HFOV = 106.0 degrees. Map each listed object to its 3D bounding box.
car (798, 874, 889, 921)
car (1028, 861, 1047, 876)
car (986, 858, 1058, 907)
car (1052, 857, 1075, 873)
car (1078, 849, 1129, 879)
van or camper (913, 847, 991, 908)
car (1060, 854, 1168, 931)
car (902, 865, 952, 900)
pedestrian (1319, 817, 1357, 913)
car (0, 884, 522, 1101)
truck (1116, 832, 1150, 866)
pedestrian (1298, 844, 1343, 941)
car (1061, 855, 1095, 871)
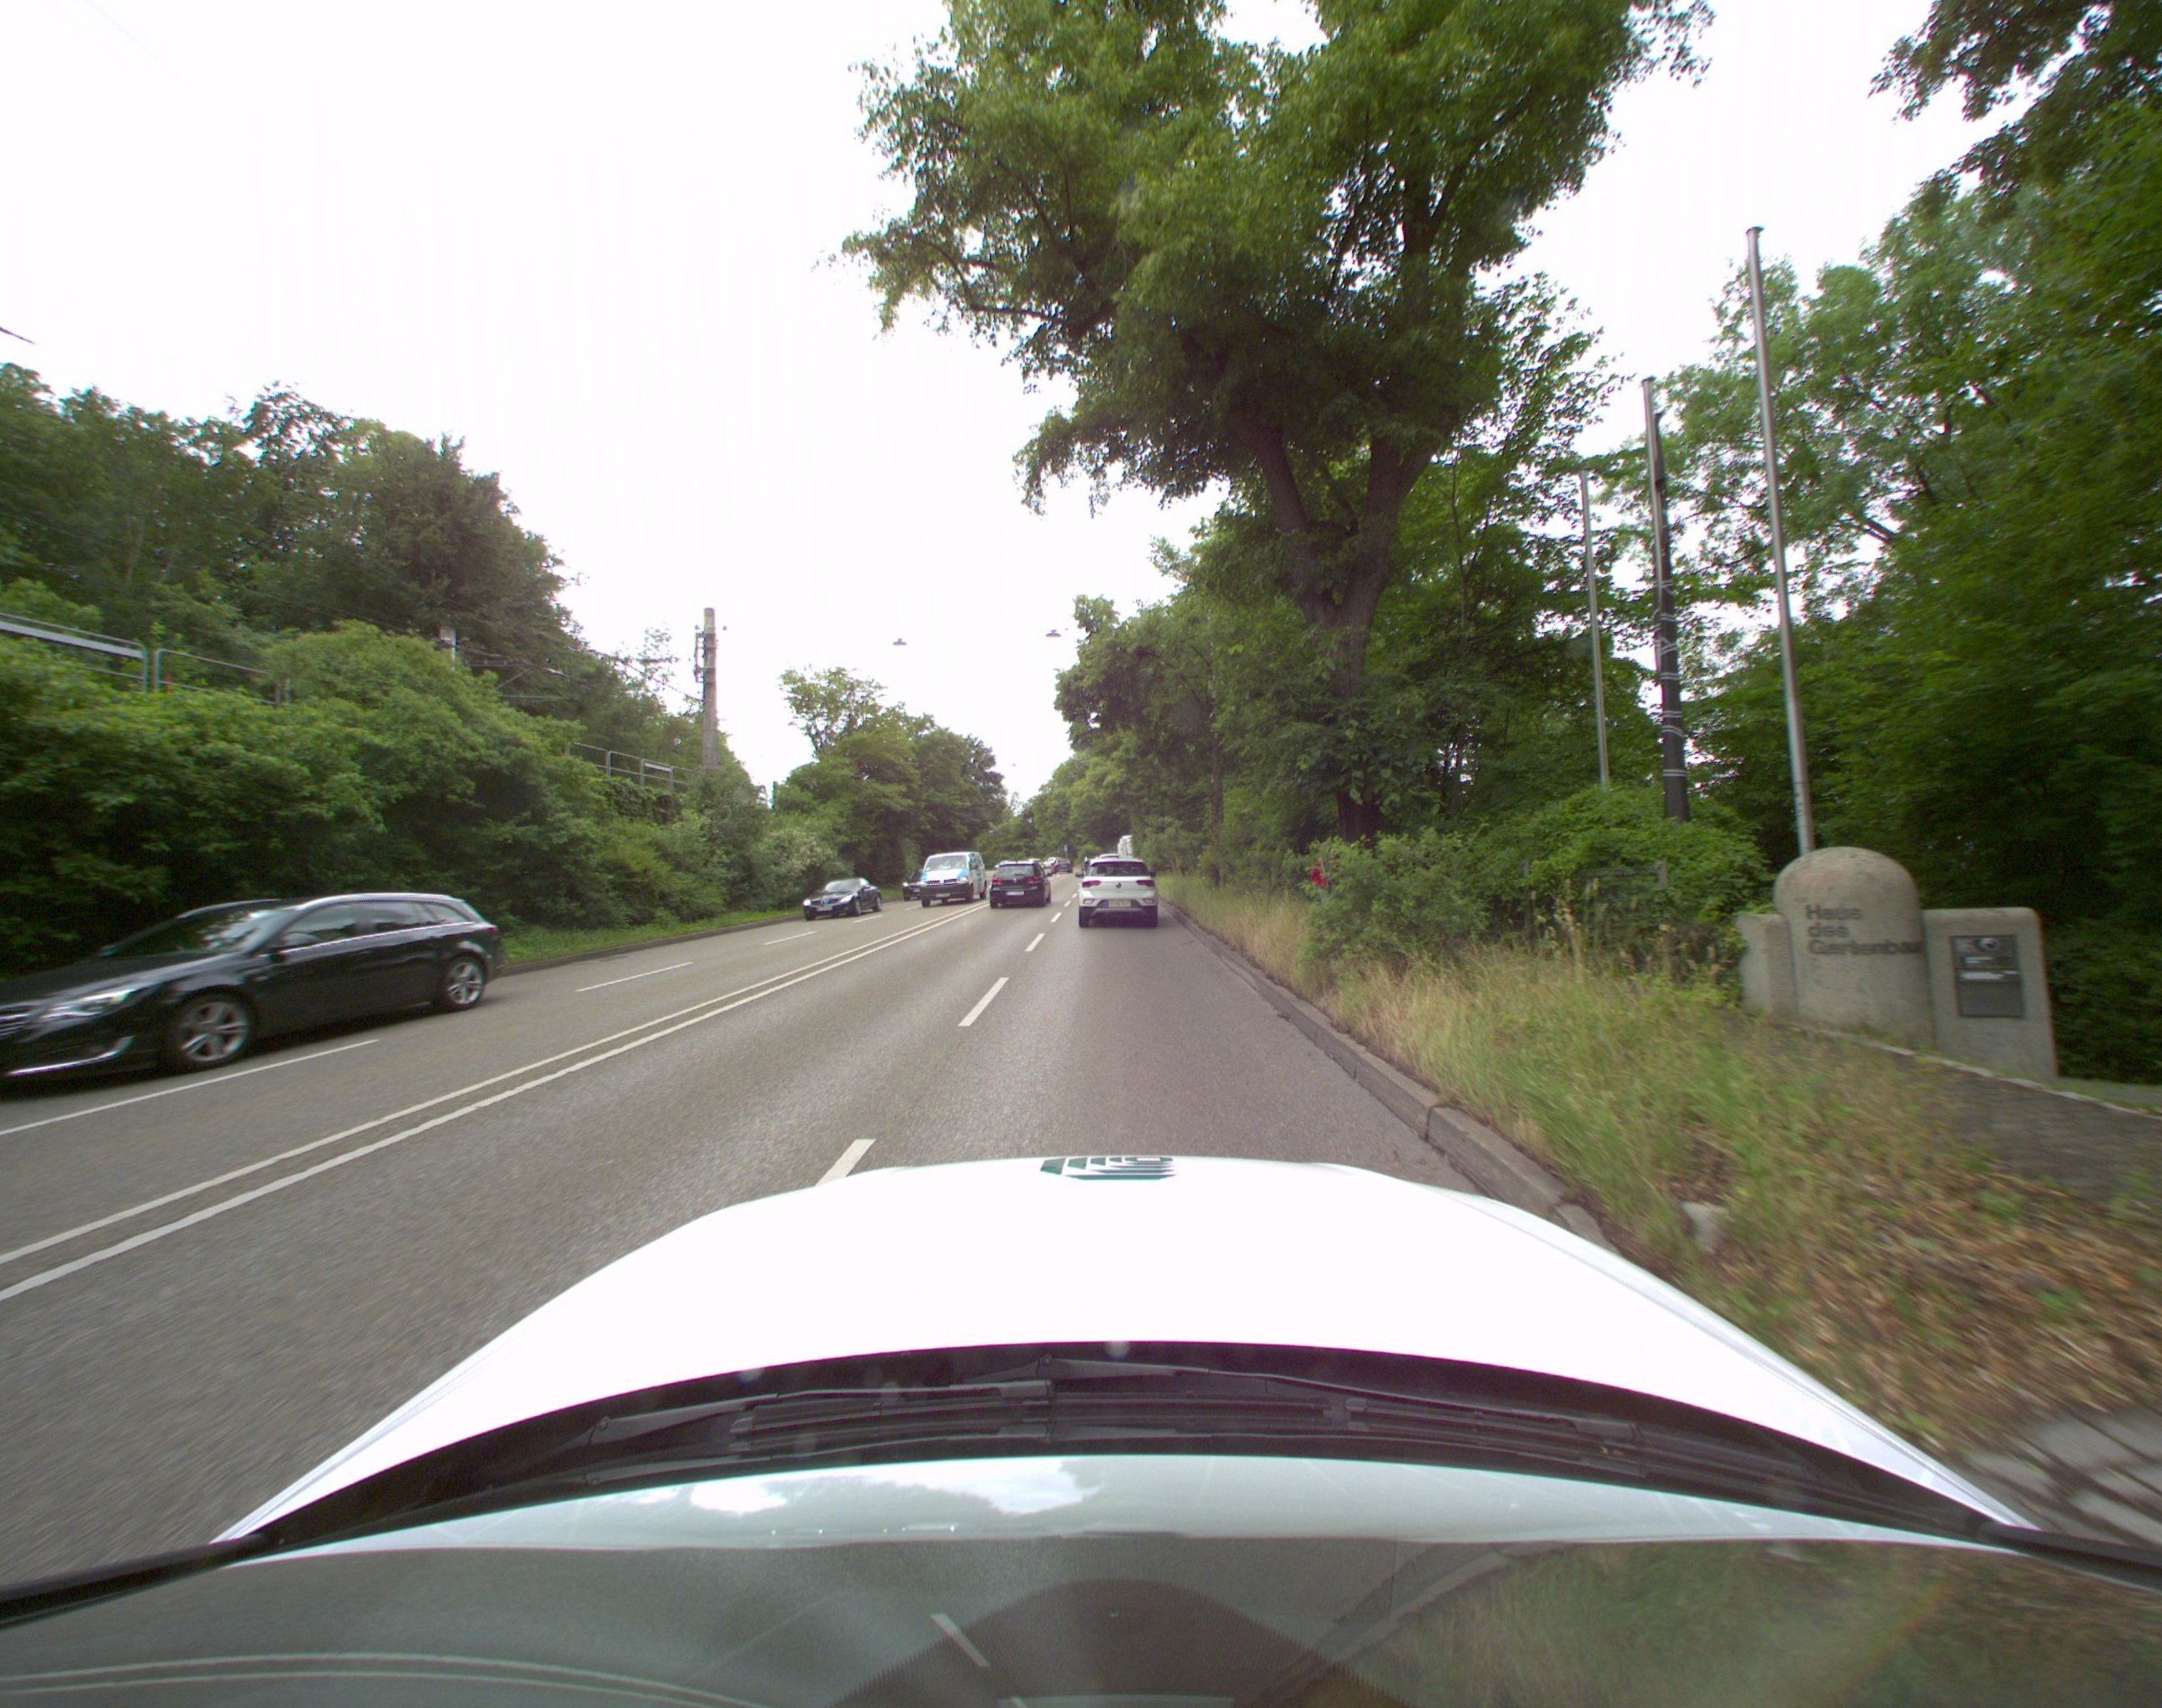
[{"bbox_3d":[-8.020,1.437,27.835,1.760,1.310,4.001,-4,-1,1],"label":"car"},{"bbox_3d":[-5.157,1.719,96.849,1.815,1.623,4.001,-1,-1,2],"label":"car"},{"bbox_3d":[-1.863,0.909,26.905,1.942,1.466,4.001,-1,-1,2],"label":"car"},{"bbox_3d":[-1.700,1.080,80.389,1.986,1.592,4.001,-1,-1,2],"label":"car"},{"bbox_3d":[1.372,0.650,51.437,1.858,1.702,3.973,-5,1,-20],"label":"car"},{"bbox_3d":[-4.909,0.877,31.863,1.987,2.013,5.368,-5,-1,1],"label":"van or camper"},{"bbox_3d":[0.650,0.844,19.284,1.998,1.596,3.991,-1,-1,-6],"label":"car"},{"bbox_3d":[-7.413,1.344,39.476,1.469,1.596,4.002,-1,-1,2],"label":"car"},{"bbox_3d":[4.778,0.209,15.163,0.518,1.753,0.524,-1,-1,-2],"label":"pedestrian"},{"bbox_3d":[-8.433,1.172,8.471,1.906,1.468,4.531,-3,0,2],"label":"car"},{"bbox_3d":[5.025,-0.400,80.506,2.477,3.182,7.219,-1,-1,-3],"label":"truck"},{"bbox_3d":[4.274,0.680,14.561,0.607,1.698,0.548,-1,-1,-2],"label":"pedestrian"},{"bbox_3d":[-0.359,0.903,84.028,1.777,1.607,3.960,0,-1,-31],"label":"car"}]
